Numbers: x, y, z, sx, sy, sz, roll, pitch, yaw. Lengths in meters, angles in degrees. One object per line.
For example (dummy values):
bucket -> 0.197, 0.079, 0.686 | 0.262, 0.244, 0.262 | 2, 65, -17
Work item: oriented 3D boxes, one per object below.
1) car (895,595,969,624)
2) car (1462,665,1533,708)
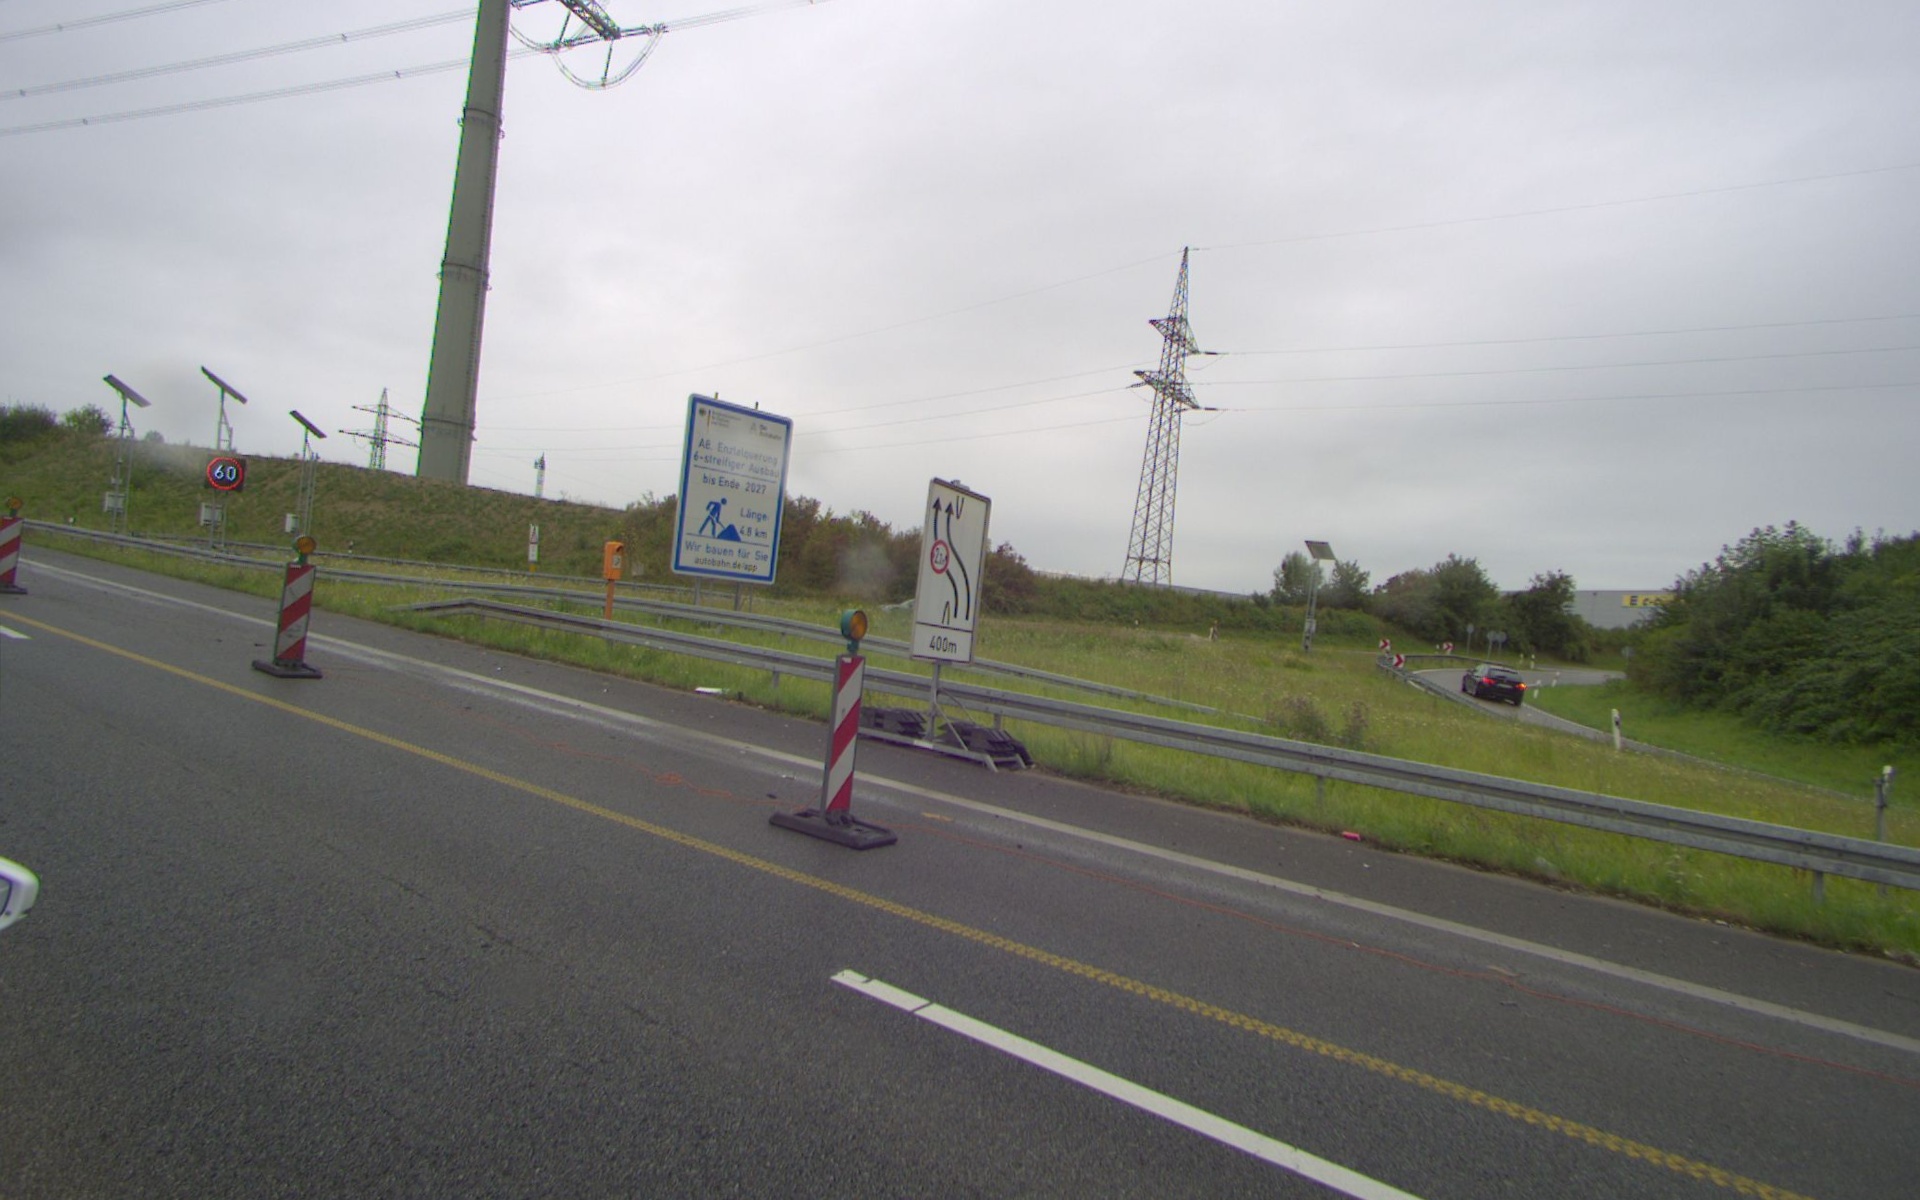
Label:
car -> -1.588, 0.532, 56.878 | 3.851, 1.175, 1.480 | 7, 1, -20
car -> 23.304, 3.711, 43.792 | 1.963, 1.466, 4.593 | 7, 0, 20
